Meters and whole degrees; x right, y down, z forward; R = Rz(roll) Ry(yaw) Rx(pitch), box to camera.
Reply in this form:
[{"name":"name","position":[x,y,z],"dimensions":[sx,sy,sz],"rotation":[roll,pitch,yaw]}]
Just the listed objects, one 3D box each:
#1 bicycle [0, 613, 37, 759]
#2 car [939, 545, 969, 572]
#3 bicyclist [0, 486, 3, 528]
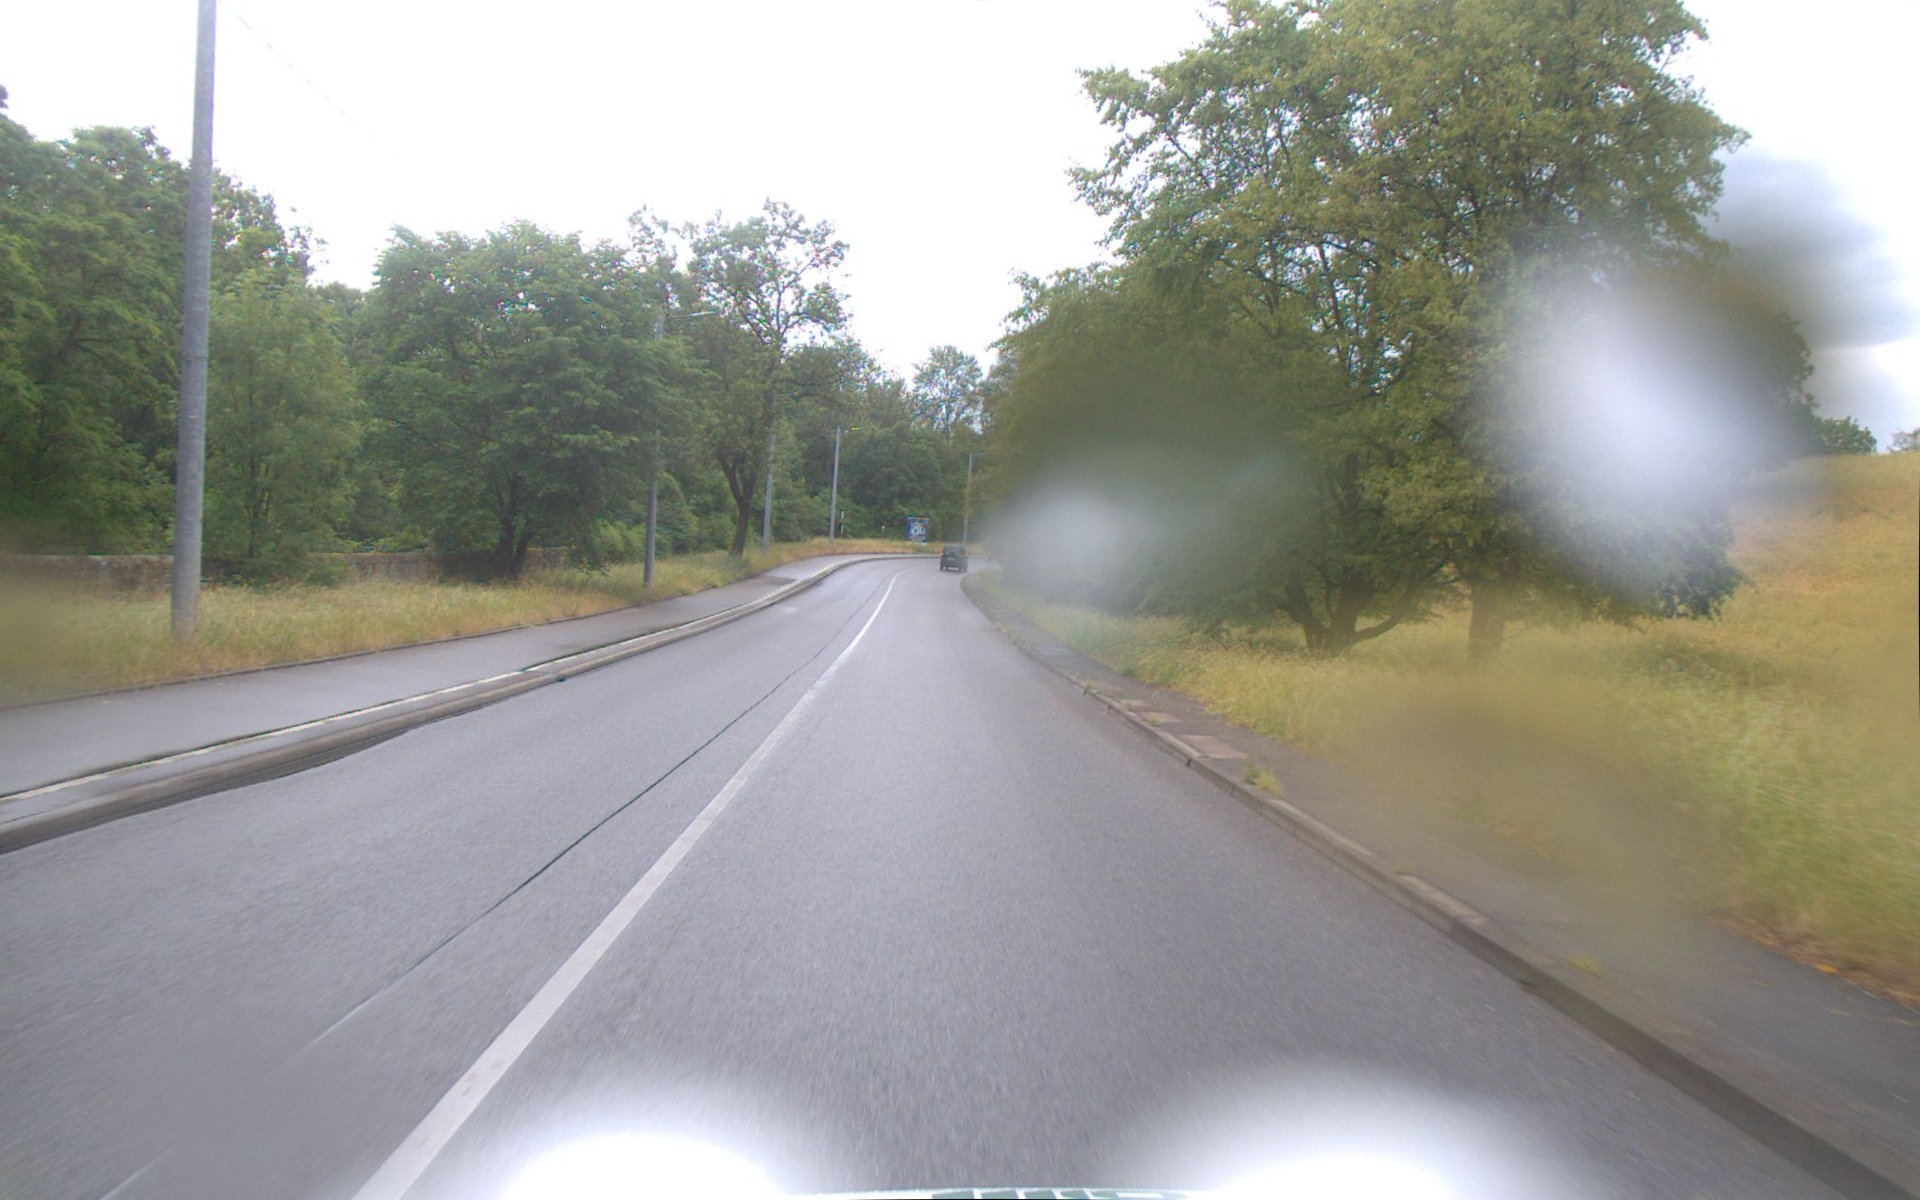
[{"name":"bicycle","position":[-6.747,0.579,10.175],"dimensions":[0.709,0.958,2.550],"rotation":[5,1,-2]},{"name":"car","position":[-0.424,-3.040,121.575],"dimensions":[1.705,1.746,4.003],"rotation":[4,1,6]},{"name":"bicyclist","position":[-6.700,0.019,10.315],"dimensions":[0.694,1.582,1.170],"rotation":[5,1,-2]}]
